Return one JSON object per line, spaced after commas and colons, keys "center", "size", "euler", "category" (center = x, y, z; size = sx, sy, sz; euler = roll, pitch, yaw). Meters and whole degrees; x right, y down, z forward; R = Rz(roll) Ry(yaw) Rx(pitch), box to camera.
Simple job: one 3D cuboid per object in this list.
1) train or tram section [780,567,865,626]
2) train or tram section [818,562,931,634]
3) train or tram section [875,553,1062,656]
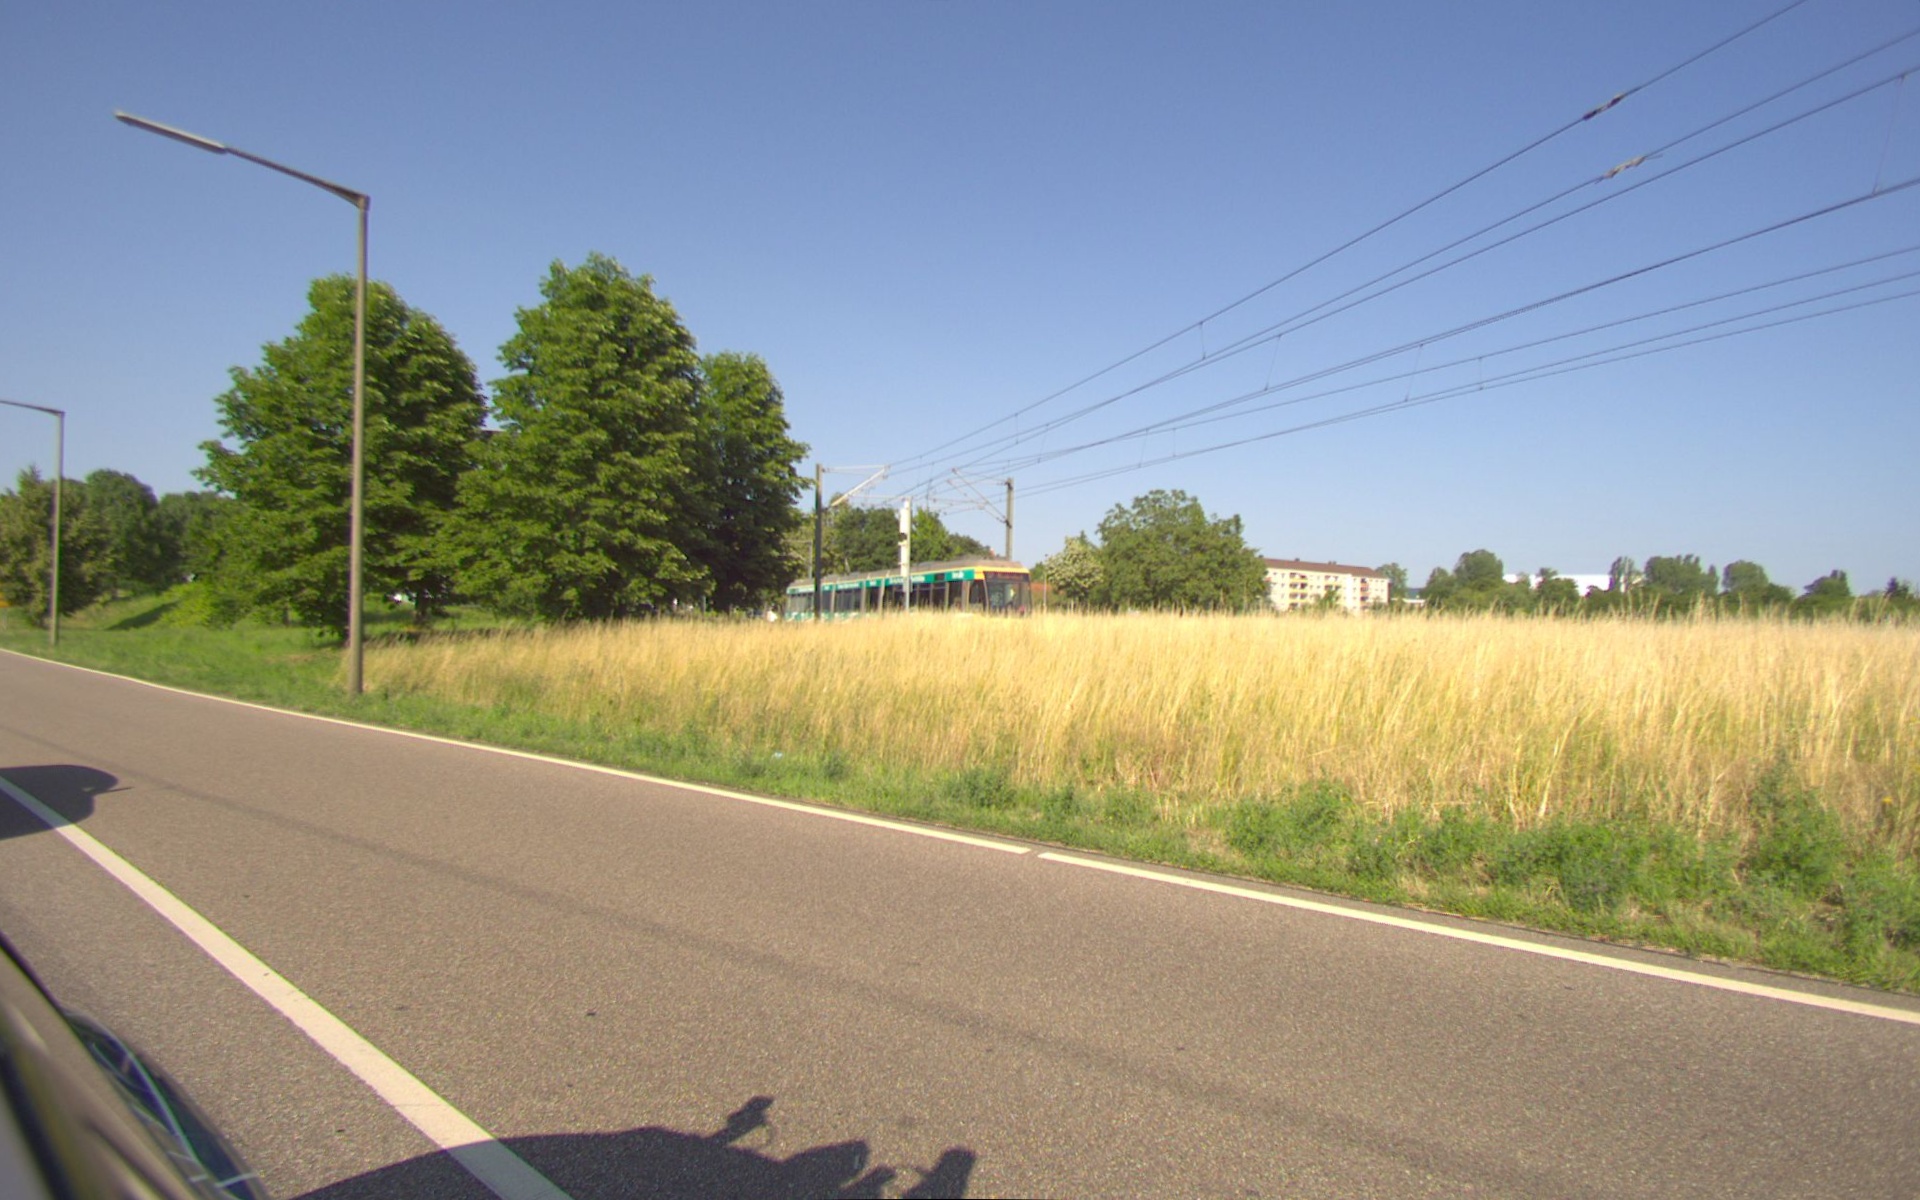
{"center": [-9.237, -0.168, 66.450], "size": [2.909, 3.511, 12.205], "euler": [0, 0, -20], "category": "train or tram section"}
{"center": [-4.957, -0.139, 54.976], "size": [2.876, 3.480, 12.205], "euler": [0, 0, -21], "category": "train or tram section"}
{"center": [-0.211, 0.011, 42.561], "size": [2.865, 3.595, 14.308], "euler": [0, 1, -21], "category": "train or tram section"}
